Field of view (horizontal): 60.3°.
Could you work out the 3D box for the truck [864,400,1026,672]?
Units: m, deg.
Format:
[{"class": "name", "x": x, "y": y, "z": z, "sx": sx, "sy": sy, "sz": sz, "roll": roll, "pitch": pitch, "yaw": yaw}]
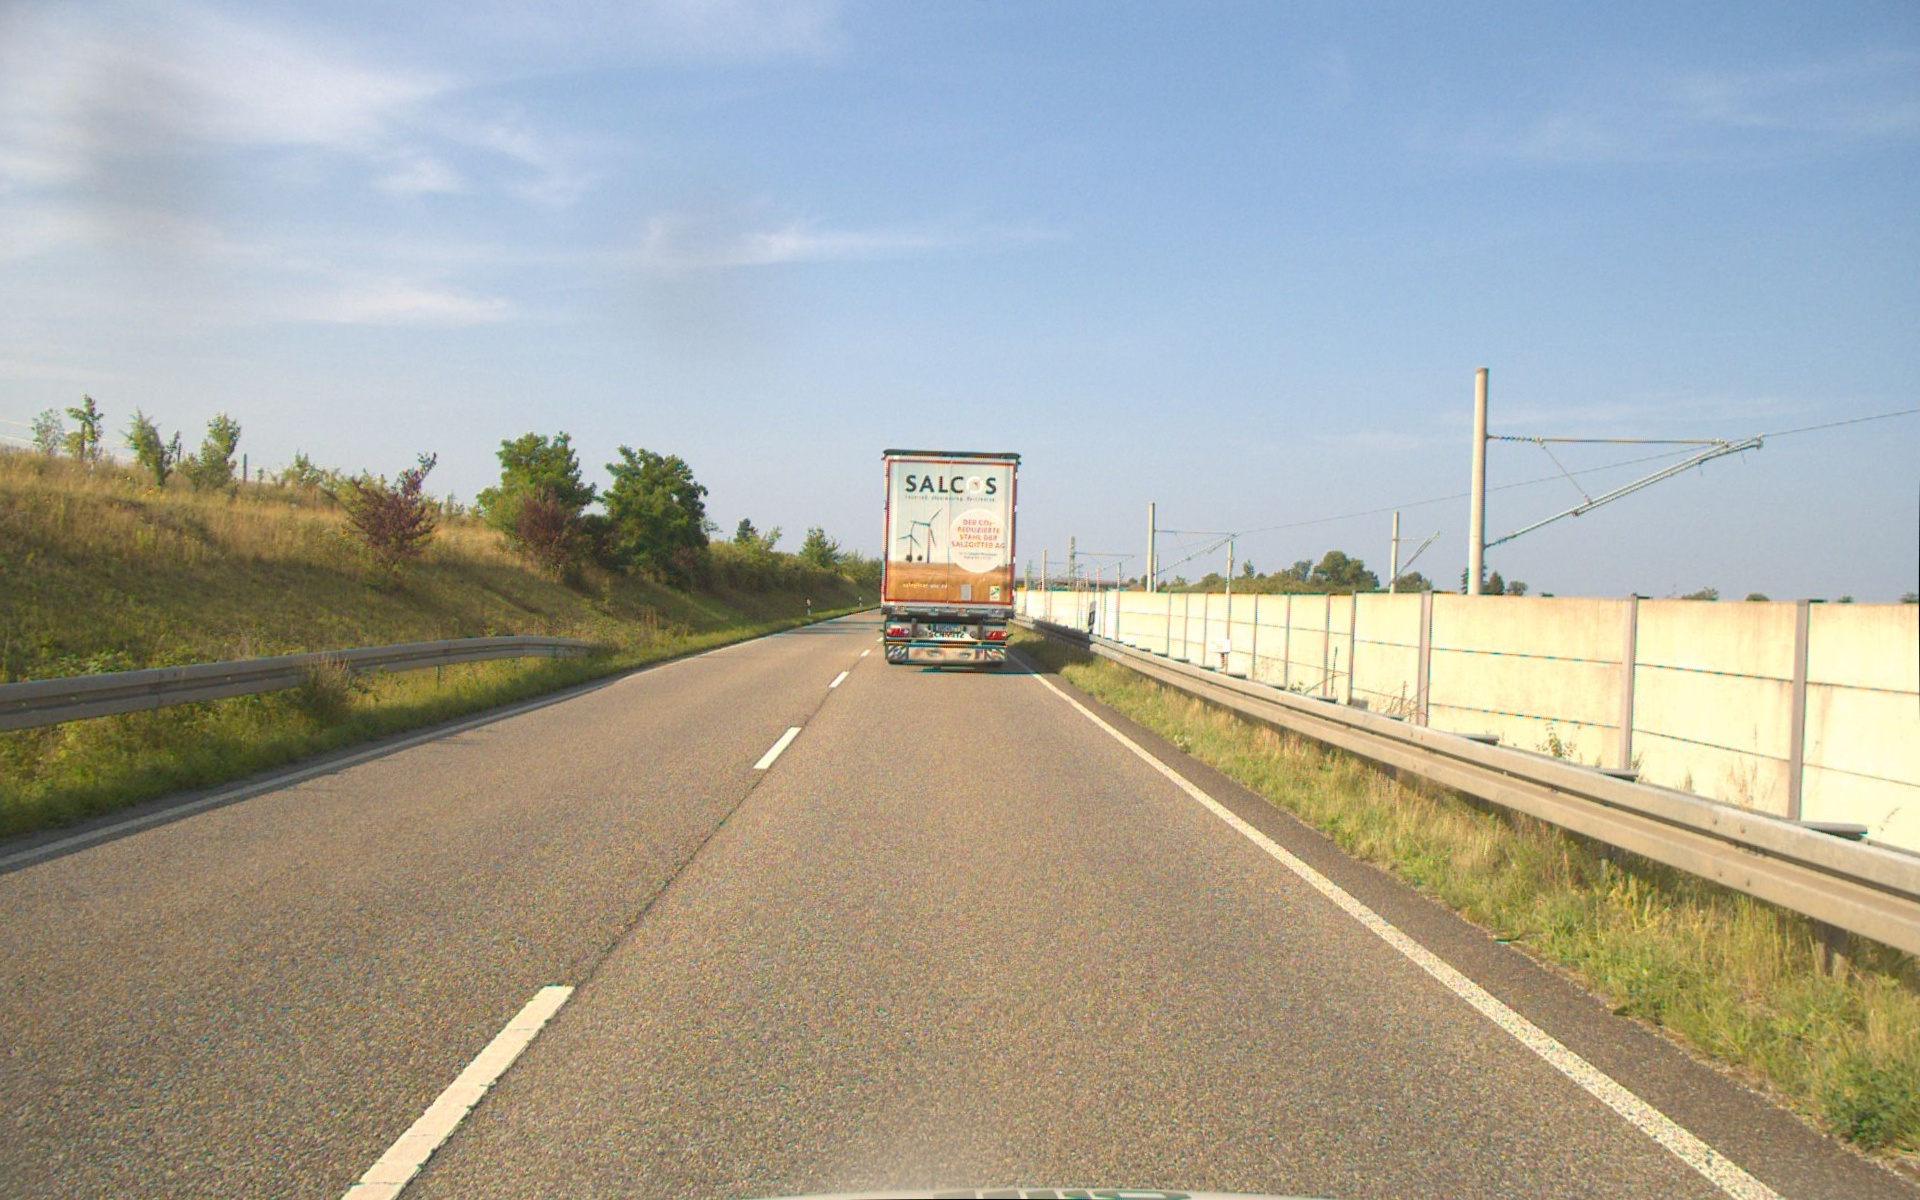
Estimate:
[{"class": "truck", "x": -0.425, "y": -1.269, "z": 36.432, "sx": 2.972, "sy": 5.006, "sz": 11.681, "roll": 0, "pitch": 1, "yaw": -1}]
